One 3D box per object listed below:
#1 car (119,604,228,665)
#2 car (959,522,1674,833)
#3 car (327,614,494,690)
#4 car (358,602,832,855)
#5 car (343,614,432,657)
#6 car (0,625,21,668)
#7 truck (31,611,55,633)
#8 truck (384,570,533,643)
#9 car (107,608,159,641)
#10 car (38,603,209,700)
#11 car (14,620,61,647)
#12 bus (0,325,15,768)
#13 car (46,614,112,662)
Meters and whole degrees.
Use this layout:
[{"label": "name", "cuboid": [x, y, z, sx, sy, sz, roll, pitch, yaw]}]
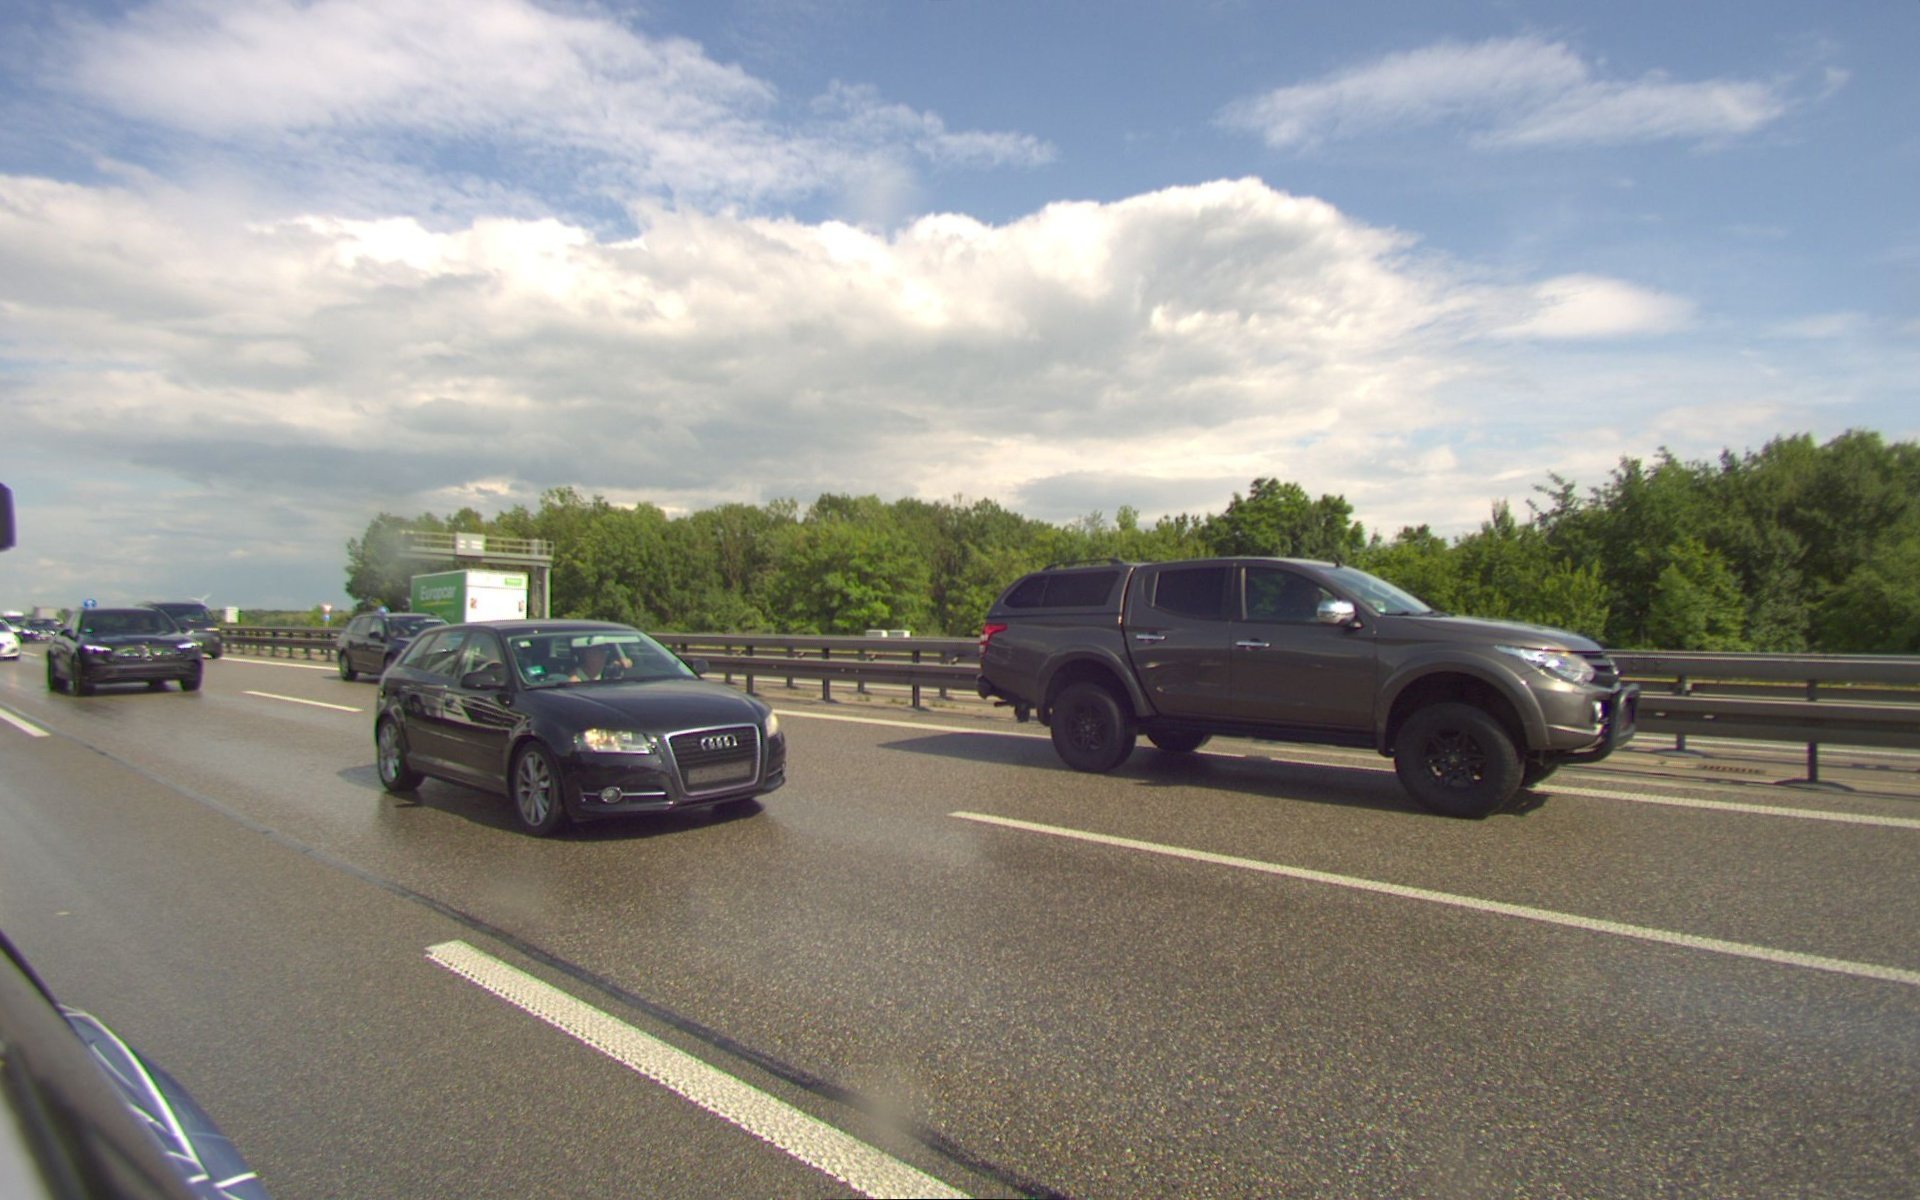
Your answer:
[{"label": "car", "cuboid": [-27.130, 1.151, 34.851, 5.233, 1.932, 1.973, -1, -1, 41]}, {"label": "car", "cuboid": [2.600, 0.508, 8.535, 5.416, 1.858, 1.787, -1, -1, 42]}, {"label": "car", "cuboid": [-11.799, 1.038, 21.606, 4.373, 1.435, 1.899, -1, -1, 44]}, {"label": "car", "cuboid": [-2.977, 0.768, 7.794, 4.053, 1.444, 1.732, -1, -1, 42]}, {"label": "car", "cuboid": [-23.454, 1.425, 41.396, 4.242, 1.655, 1.748, -1, -1, 39]}, {"label": "car", "cuboid": [-33.883, 1.593, 34.911, 4.239, 1.408, 1.785, -1, -1, 42]}, {"label": "truck", "cuboid": [-172.487, 4.112, 190.292, 8.919, 3.913, 2.762, -1, -1, 44]}, {"label": "truck", "cuboid": [-22.666, 0.303, 45.505, 8.717, 3.009, 2.886, -1, 0, 41]}, {"label": "car", "cuboid": [-63.006, 1.854, 77.077, 6.100, 2.414, 2.091, -1, -1, 41]}, {"label": "car", "cuboid": [-16.409, 0.926, 19.759, 4.624, 1.692, 1.857, -1, -1, 41]}, {"label": "car", "cuboid": [-53.040, 1.909, 58.161, 3.998, 1.431, 1.597, -1, -1, 41]}, {"label": "bus", "cuboid": [-13.554, -0.418, 11.725, 9.840, 4.159, 2.867, -1, -1, 41]}, {"label": "car", "cuboid": [-30.966, 1.301, 35.539, 2.829, 1.609, 1.391, -1, -1, 41]}]
